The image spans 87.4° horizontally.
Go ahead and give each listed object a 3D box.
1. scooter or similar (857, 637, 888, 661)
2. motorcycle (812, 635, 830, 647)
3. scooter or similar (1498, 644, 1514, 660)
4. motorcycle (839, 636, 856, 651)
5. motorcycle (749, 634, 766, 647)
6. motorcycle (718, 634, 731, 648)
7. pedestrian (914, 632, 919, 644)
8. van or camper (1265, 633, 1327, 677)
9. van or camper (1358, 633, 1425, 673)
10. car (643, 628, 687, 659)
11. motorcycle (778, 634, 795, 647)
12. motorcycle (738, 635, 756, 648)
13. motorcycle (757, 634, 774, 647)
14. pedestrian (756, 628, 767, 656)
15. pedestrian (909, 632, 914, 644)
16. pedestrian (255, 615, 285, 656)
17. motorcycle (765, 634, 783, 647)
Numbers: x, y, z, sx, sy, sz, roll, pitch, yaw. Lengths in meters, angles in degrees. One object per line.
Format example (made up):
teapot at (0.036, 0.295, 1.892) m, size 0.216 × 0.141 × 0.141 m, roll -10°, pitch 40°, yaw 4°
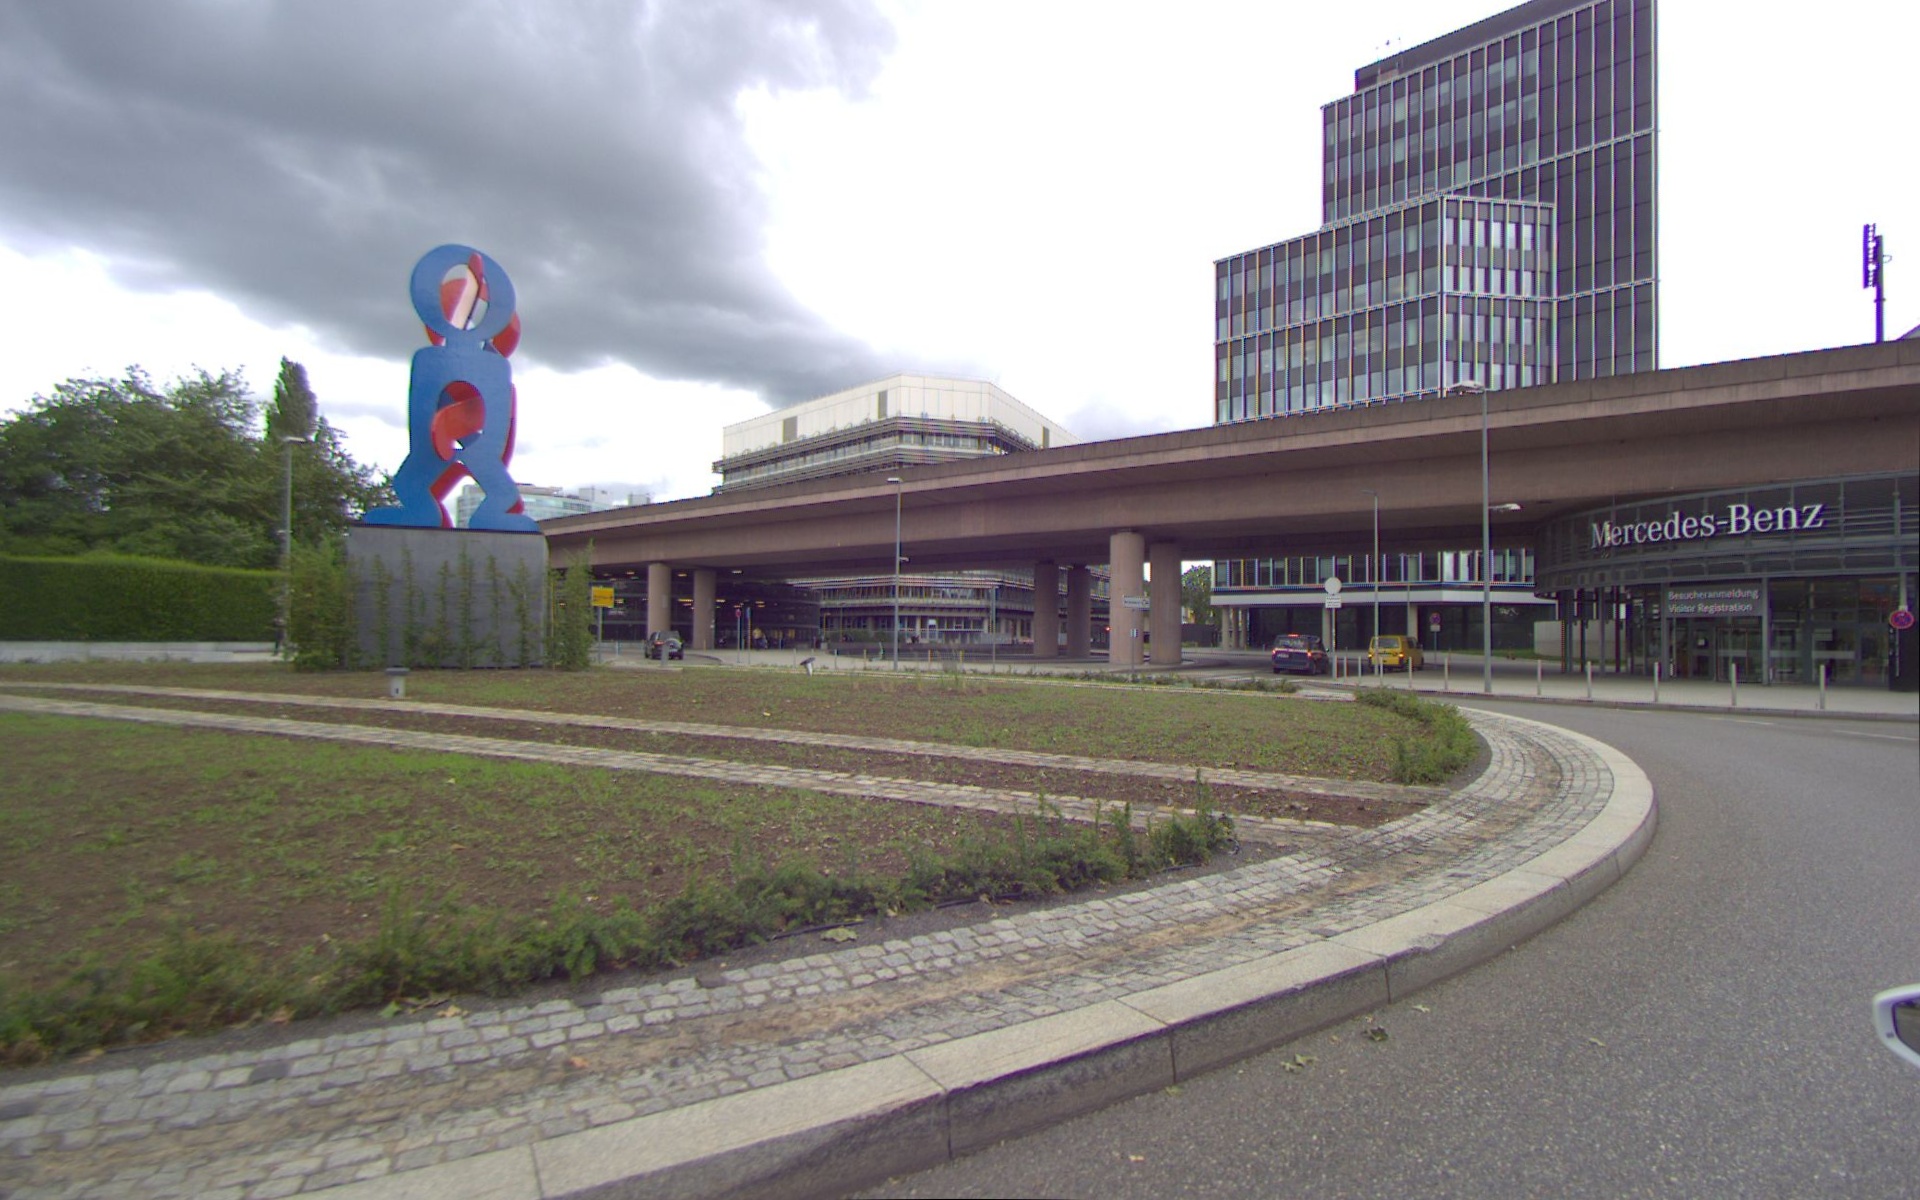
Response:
scooter or similar at (-4.868, 2.731, 55.916) m, size 1.631 × 1.313 × 0.514 m, roll 2°, pitch -1°, yaw -32°
motorcycle at (-14.967, 4.432, 108.309) m, size 2.331 × 1.236 × 0.670 m, roll 0°, pitch -1°, yaw 45°
scooter or similar at (40.624, 3.846, 74.782) m, size 0.686 × 1.120 × 1.502 m, roll 1°, pitch -1°, yaw 14°
motorcycle at (-9.690, 3.760, 86.469) m, size 0.537 × 1.281 × 1.940 m, roll 1°, pitch -1°, yaw 22°
motorcycle at (-20.108, 4.053, 99.779) m, size 2.050 × 1.236 × 0.670 m, roll 0°, pitch -1°, yaw 45°
motorcycle at (-22.843, 3.949, 97.217) m, size 0.821 × 1.236 × 2.066 m, roll 1°, pitch -1°, yaw -24°
pedestrian at (-5.685, 4.963, 131.967) m, size 0.486 × 1.501 × 0.545 m, roll 1°, pitch -1°, yaw 12°
van or camper at (16.400, 2.611, 48.860) m, size 2.114 × 1.918 × 4.895 m, roll 1°, pitch -1°, yaw 28°
van or camper at (23.499, 2.810, 54.614) m, size 2.324 × 2.026 × 4.488 m, roll 0°, pitch -1°, yaw 37°
car at (-17.943, 2.625, 61.013) m, size 1.823 × 1.734 × 3.677 m, roll 2°, pitch -1°, yaw -29°
motorcycle at (-17.675, 4.098, 102.174) m, size 2.050 × 1.236 × 0.670 m, roll 0°, pitch -1°, yaw 44°
motorcycle at (-20.990, 4.047, 99.050) m, size 2.050 × 1.236 × 0.670 m, roll 0°, pitch -1°, yaw 45°
motorcycle at (-19.436, 4.061, 100.340) m, size 2.050 × 1.236 × 0.670 m, roll 0°, pitch -1°, yaw 45°
pedestrian at (-14.969, 3.179, 75.711) m, size 0.771 × 2.040 × 1.037 m, roll 1°, pitch -1°, yaw -13°
pedestrian at (-6.264, 4.958, 130.759) m, size 0.486 × 1.501 × 0.545 m, roll 1°, pitch -1°, yaw 12°
pedestrian at (-31.360, 1.614, 45.672) m, size 0.779 × 1.832 × 0.864 m, roll 1°, pitch -1°, yaw 30°
motorcycle at (-18.729, 4.081, 101.115) m, size 2.050 × 1.303 × 0.670 m, roll 0°, pitch -1°, yaw 45°
